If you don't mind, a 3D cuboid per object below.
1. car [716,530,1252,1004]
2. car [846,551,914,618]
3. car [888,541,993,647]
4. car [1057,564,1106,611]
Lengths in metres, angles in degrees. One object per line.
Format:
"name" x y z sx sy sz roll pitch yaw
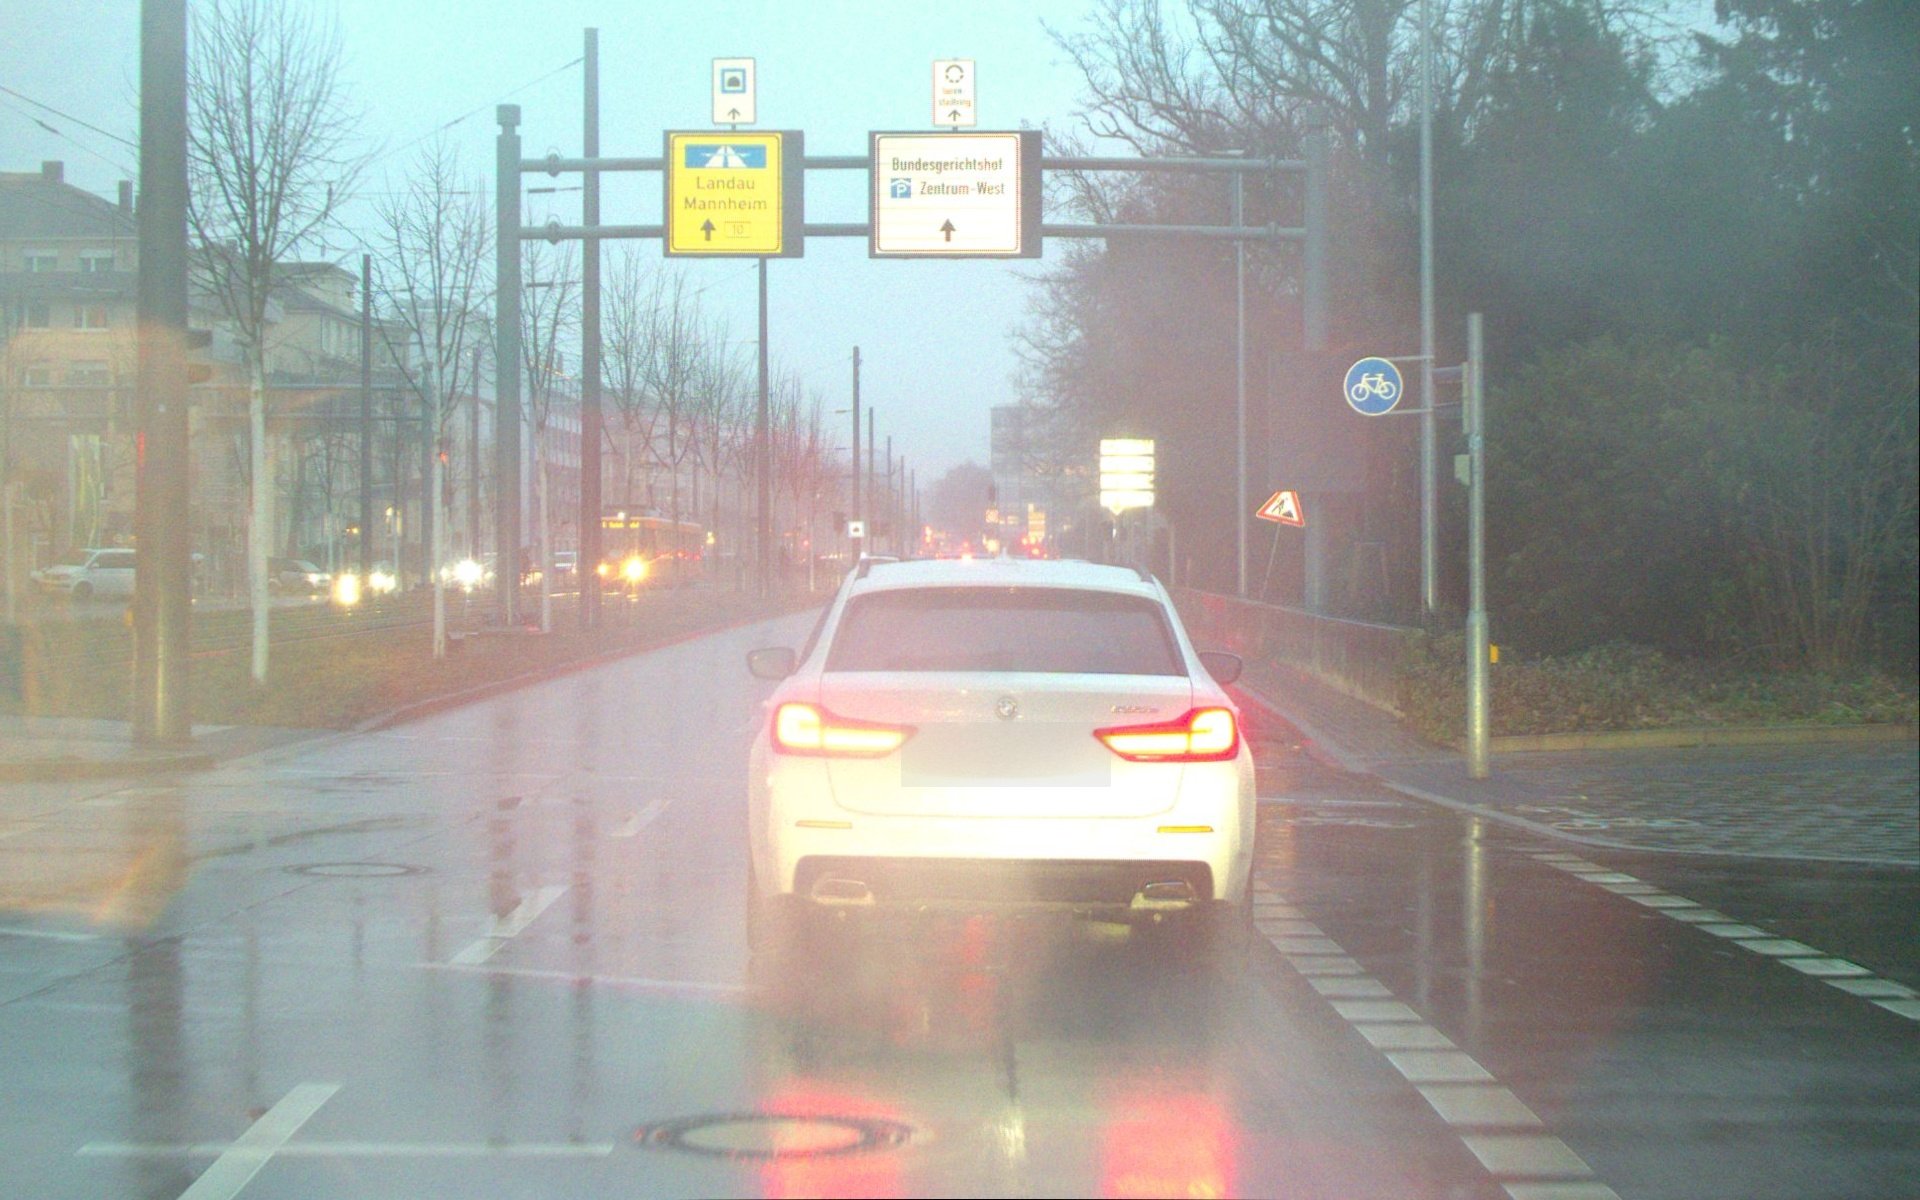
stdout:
"car" -0.036 0.538 13.622 1.759 1.547 4.252 1 1 -3
"car" -2.491 -0.500 108.477 1.993 2.007 4.000 1 1 0
"car" -0.378 -0.139 69.080 1.993 2.007 4.000 1 1 0
"car" 5.318 -0.553 150.772 1.993 2.007 4.000 1 1 0
